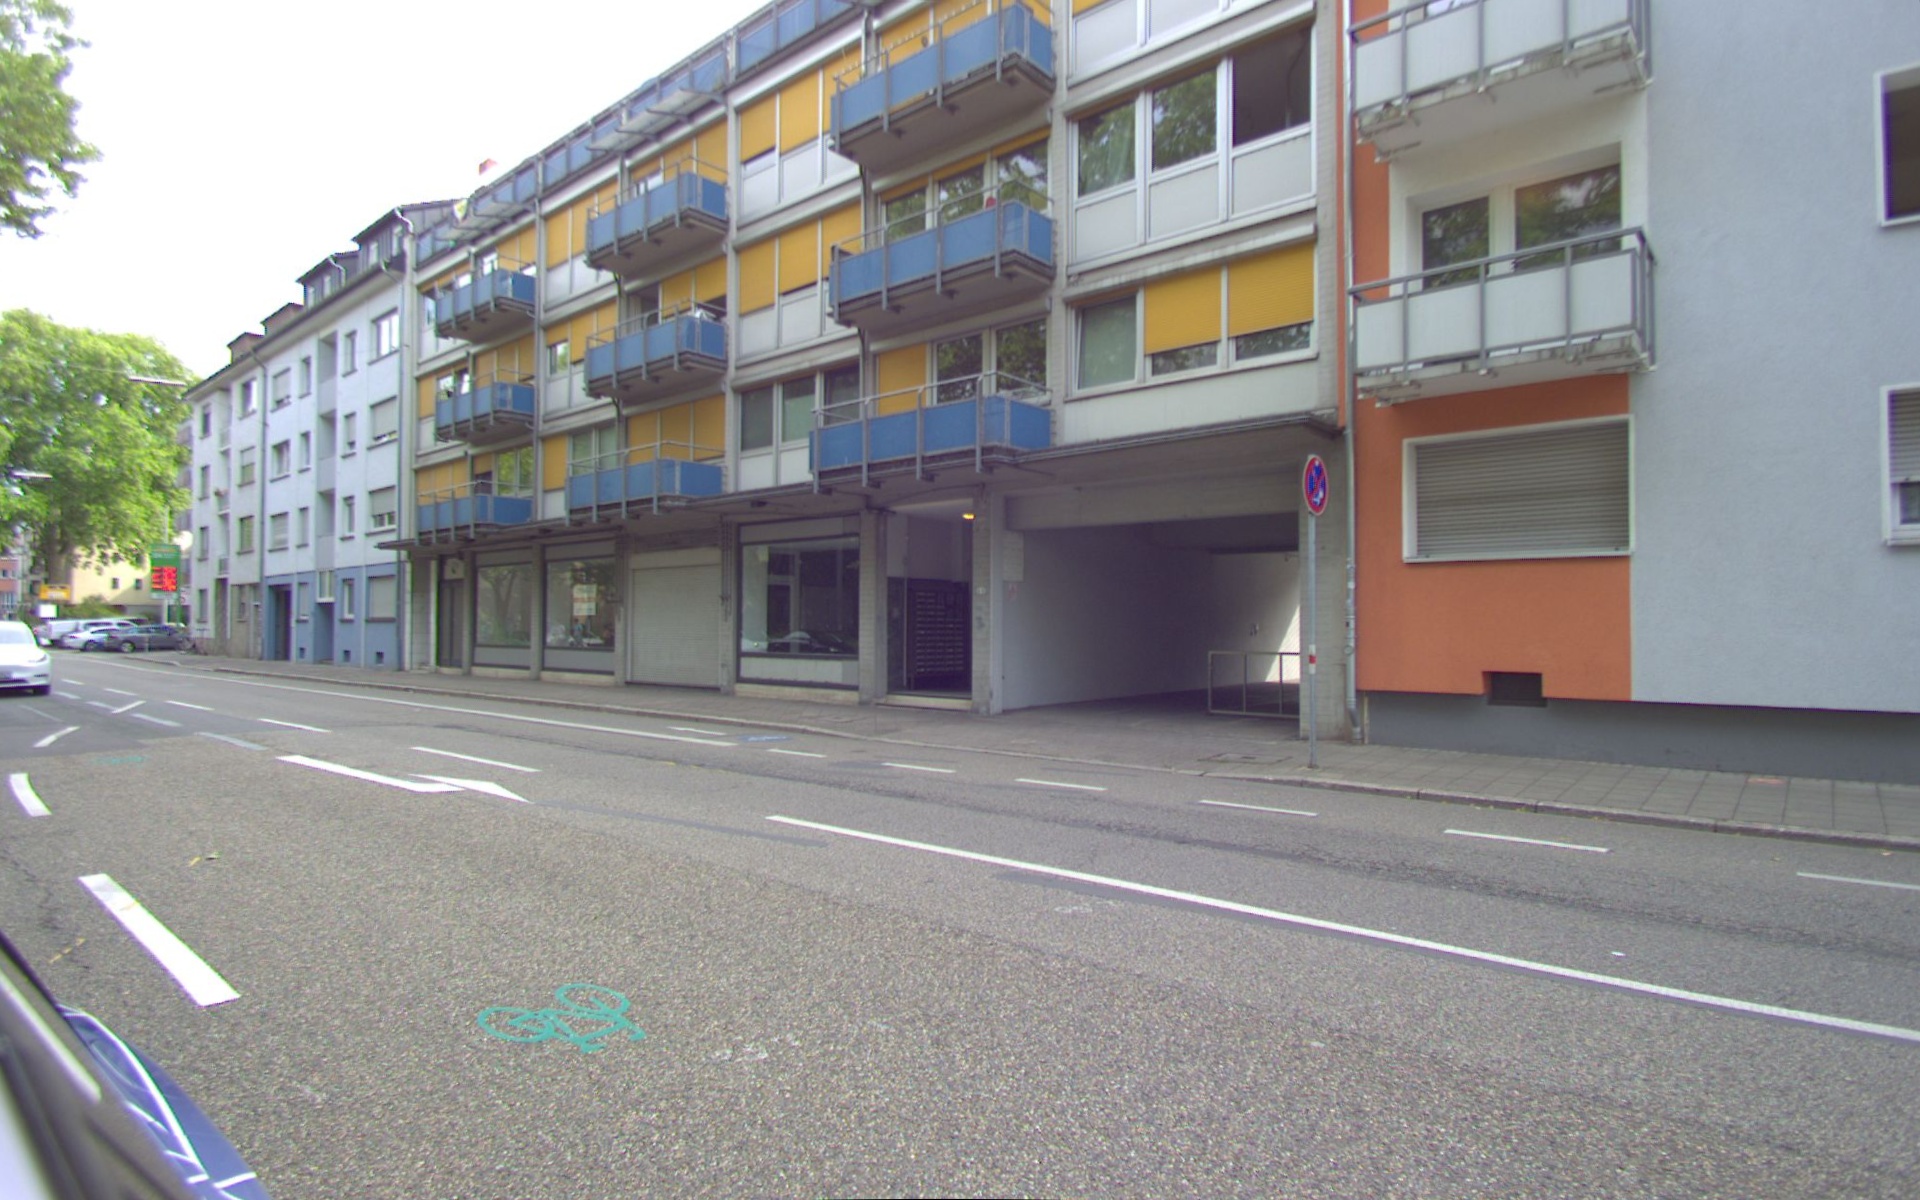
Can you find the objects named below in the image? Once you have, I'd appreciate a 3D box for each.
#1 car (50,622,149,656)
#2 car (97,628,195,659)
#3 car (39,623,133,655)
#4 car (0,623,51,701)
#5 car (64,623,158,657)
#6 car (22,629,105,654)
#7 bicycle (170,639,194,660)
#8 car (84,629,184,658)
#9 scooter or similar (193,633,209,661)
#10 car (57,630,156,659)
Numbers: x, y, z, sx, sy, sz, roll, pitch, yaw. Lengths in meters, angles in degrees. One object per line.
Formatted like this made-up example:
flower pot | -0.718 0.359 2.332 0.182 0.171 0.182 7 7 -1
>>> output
car | -56.814 2.551 66.876 1.993 1.949 4.716 -2 0 42
car | -46.191 2.435 57.497 1.837 1.525 4.107 -2 0 42
car | -58.814 2.596 68.131 1.950 1.873 4.567 -2 0 42
car | -21.337 1.297 22.015 4.551 1.578 1.973 -2 -2 44
car | -52.020 2.426 62.076 1.923 1.862 4.167 -2 0 42
car | -67.238 3.099 75.957 1.753 1.618 4.470 -2 0 42
bicycle | -36.719 2.310 47.745 1.662 0.957 0.590 -2 -1 42
car | -48.093 2.517 58.988 1.910 1.462 4.255 -2 0 42
scooter or similar | -34.580 2.137 46.089 1.201 1.231 0.346 -2 -2 42
car | -50.375 2.579 59.761 1.873 1.462 4.226 -2 0 42
